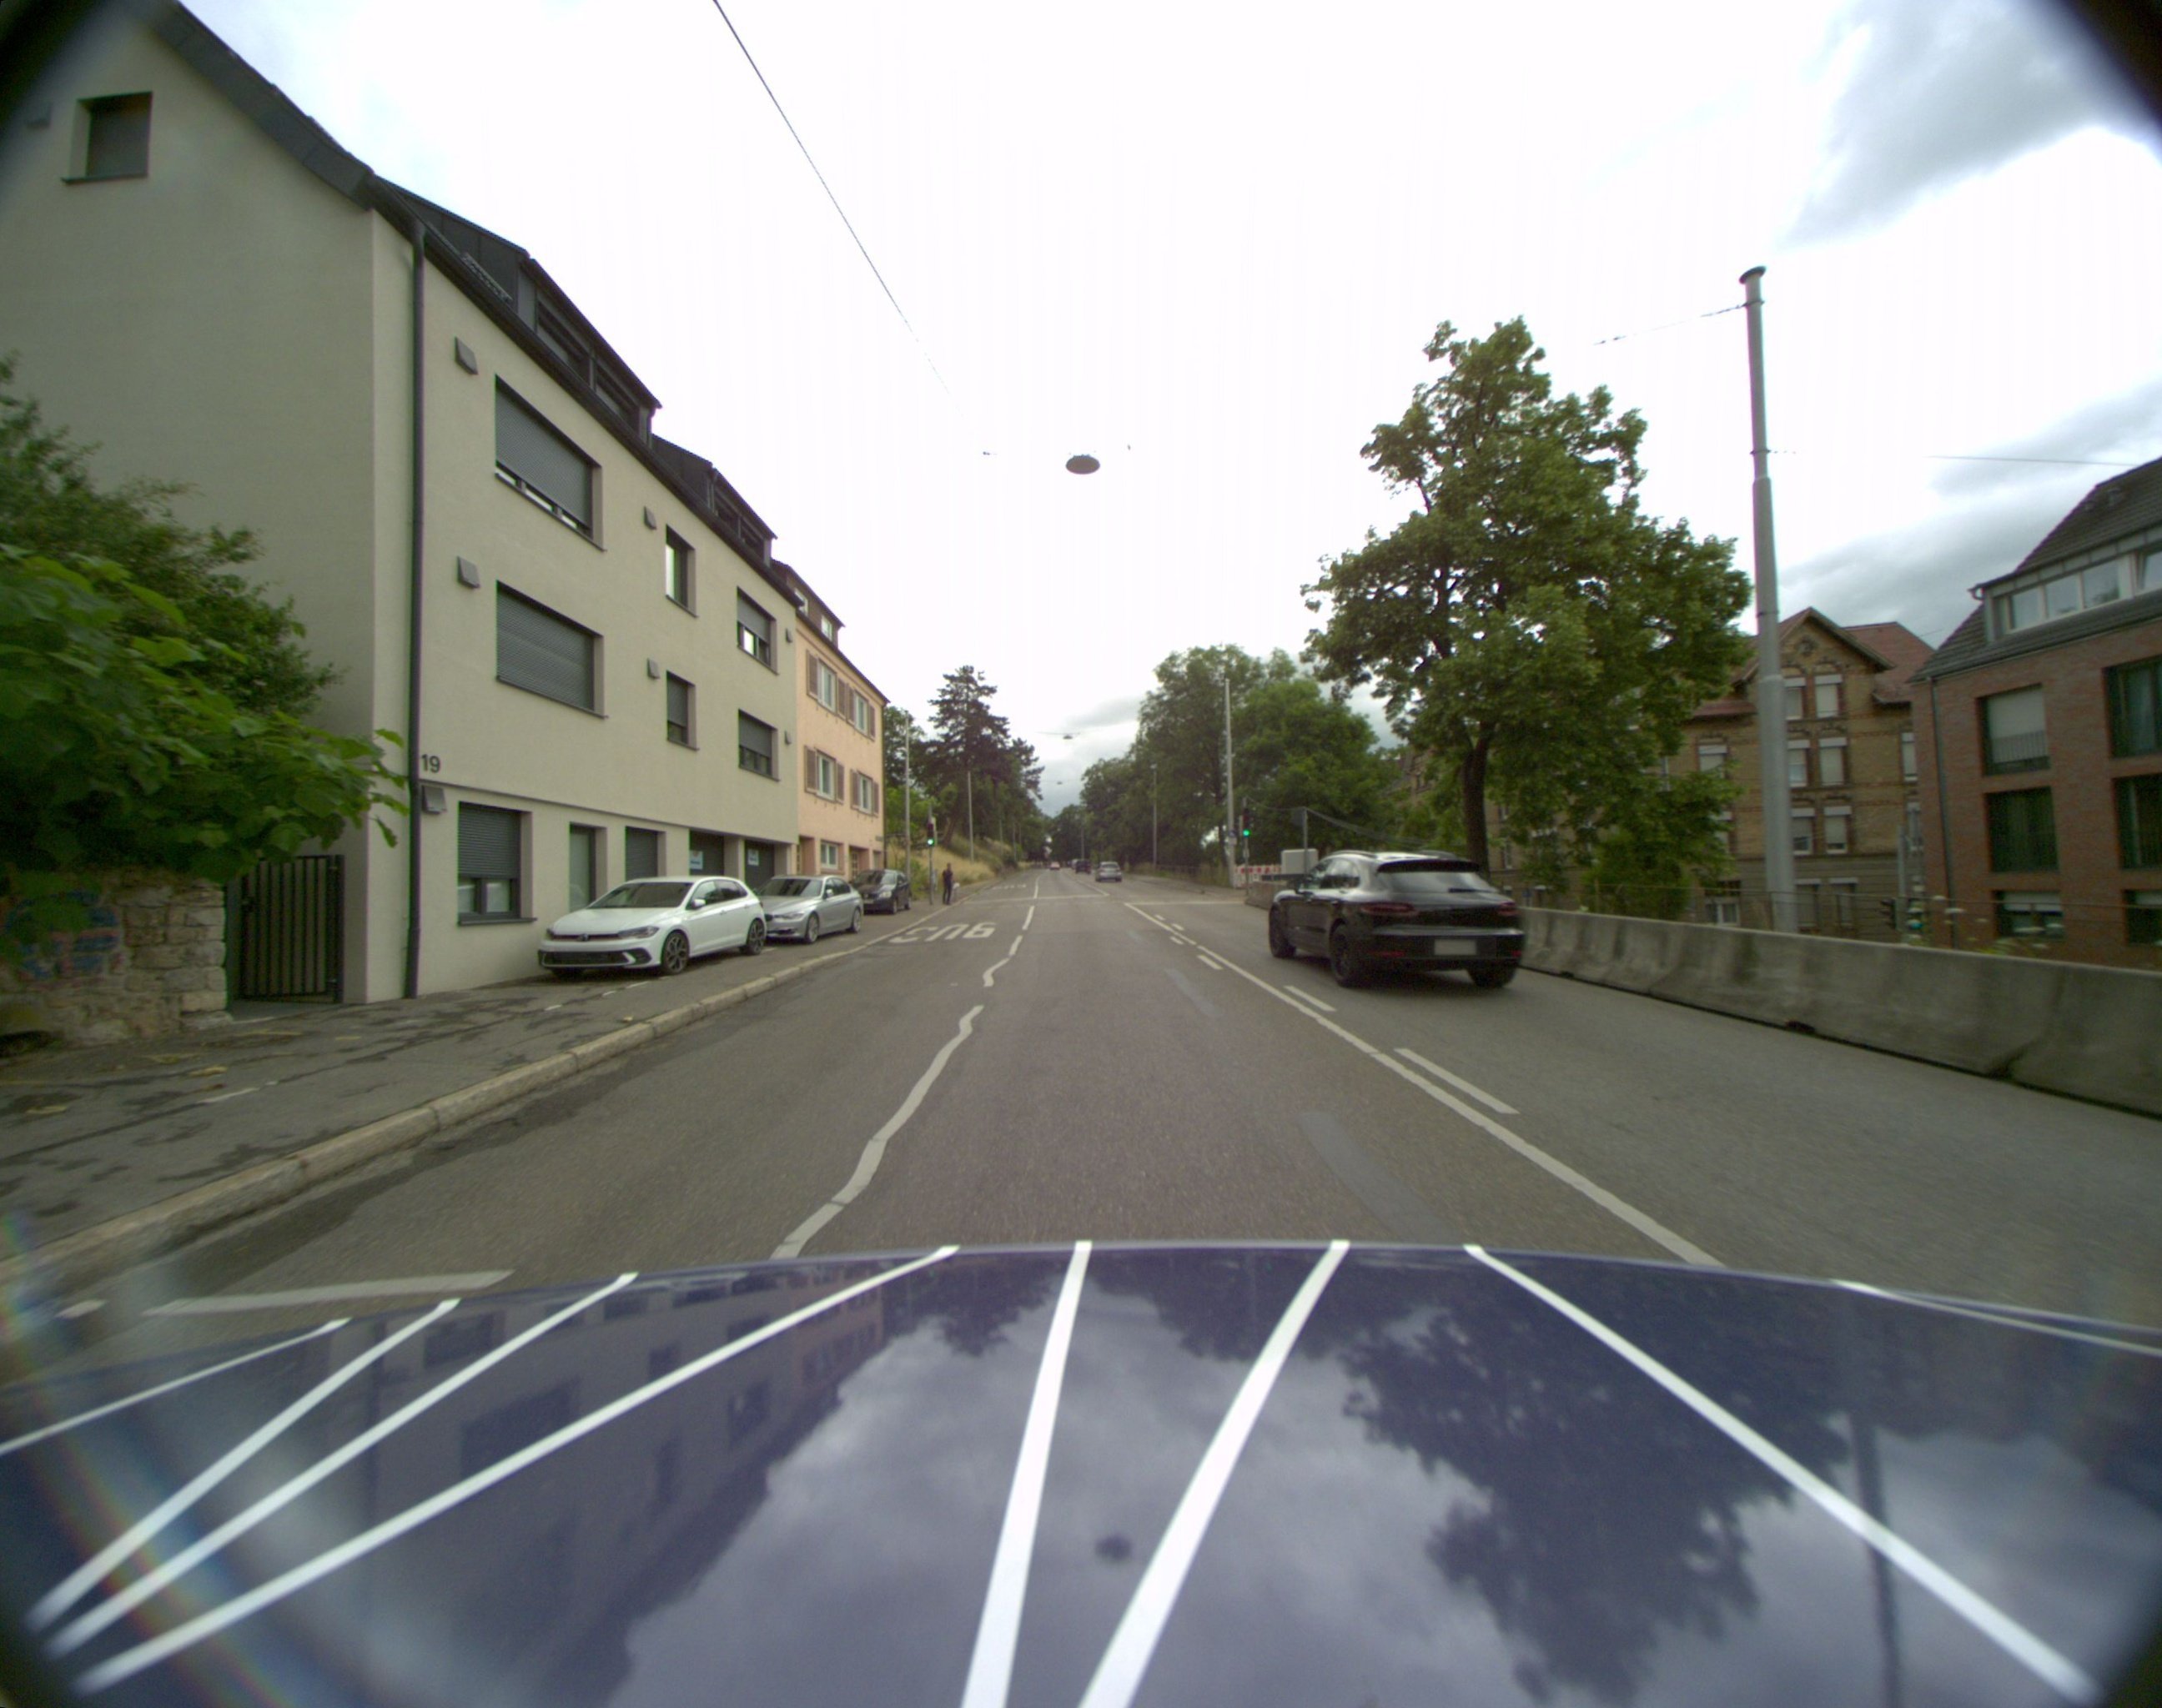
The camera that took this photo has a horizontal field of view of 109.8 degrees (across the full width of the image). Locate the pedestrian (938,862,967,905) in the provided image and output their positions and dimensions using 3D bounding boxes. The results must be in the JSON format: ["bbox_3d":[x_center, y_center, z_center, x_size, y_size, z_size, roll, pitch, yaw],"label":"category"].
[{"bbox_3d":[-5.276,1.208,31.227,0.873,1.686,0.888,-5,2,-21],"label":"pedestrian"}]

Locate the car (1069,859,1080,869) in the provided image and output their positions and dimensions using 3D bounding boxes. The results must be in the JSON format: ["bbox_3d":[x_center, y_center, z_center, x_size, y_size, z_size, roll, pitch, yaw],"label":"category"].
[{"bbox_3d":[-1.173,1.781,135.911,1.789,1.565,4.280,-1,0,-2],"label":"car"}]

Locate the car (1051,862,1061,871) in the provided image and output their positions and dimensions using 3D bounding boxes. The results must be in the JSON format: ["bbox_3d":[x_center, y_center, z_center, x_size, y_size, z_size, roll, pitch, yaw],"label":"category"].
[{"bbox_3d":[-4.417,2.189,132.748,1.789,1.565,4.280,-1,0,-2],"label":"car"}]

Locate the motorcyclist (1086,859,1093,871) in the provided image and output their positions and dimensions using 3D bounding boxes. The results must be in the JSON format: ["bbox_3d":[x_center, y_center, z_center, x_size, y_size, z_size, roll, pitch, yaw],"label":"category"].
[{"bbox_3d":[1.005,1.286,88.958,0.787,1.507,0.668,0,0,-3],"label":"motorcyclist"}]

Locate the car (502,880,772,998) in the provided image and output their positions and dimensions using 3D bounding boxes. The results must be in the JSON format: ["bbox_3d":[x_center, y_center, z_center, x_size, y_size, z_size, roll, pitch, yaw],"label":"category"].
[{"bbox_3d":[-6.656,1.182,11.990,1.798,1.415,4.005,0,0,2],"label":"car"}]

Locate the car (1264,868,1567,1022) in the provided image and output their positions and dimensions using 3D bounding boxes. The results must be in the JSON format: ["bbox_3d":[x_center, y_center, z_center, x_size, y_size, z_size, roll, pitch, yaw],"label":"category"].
[{"bbox_3d":[3.942,0.971,9.941,1.987,1.565,4.375,0,-1,-1],"label":"car"}]

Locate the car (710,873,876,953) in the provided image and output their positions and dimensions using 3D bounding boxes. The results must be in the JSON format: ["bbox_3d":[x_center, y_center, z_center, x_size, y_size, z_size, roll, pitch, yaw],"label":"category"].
[{"bbox_3d":[-6.258,1.210,17.176,1.798,1.442,4.719,2,-1,1],"label":"car"}]

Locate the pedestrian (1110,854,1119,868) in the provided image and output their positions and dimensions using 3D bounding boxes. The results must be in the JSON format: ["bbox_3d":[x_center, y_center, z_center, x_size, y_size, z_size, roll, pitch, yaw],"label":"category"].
[{"bbox_3d":[4.290,0.882,97.125,0.791,1.764,1.208,-4,0,-4],"label":"pedestrian"}]

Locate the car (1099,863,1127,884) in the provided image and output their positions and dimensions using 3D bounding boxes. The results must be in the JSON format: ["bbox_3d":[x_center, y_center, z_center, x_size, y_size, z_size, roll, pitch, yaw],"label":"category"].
[{"bbox_3d":[2.354,1.431,57.323,1.725,1.436,4.158,-1,0,-2],"label":"car"}]

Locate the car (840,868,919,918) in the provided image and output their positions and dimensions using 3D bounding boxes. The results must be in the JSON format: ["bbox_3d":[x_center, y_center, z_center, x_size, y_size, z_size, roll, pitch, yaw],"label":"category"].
[{"bbox_3d":[-6.768,1.254,25.891,1.686,1.442,3.999,2,0,-2],"label":"car"}]

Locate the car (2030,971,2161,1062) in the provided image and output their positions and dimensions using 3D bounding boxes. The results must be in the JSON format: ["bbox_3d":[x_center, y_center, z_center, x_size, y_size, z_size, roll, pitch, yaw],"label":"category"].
[{"bbox_3d":[22.684,3.449,15.500,1.798,1.501,4.002,0,0,5],"label":"car"}]

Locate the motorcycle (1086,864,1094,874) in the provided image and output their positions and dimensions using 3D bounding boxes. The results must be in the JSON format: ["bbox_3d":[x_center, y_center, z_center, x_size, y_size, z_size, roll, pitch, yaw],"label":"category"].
[{"bbox_3d":[1.007,1.730,88.901,0.787,1.139,2.056,0,0,-2],"label":"motorcycle"}]

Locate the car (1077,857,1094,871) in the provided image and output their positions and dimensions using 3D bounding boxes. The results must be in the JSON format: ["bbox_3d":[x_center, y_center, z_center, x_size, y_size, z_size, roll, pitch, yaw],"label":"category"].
[{"bbox_3d":[0.514,1.201,96.125,1.789,1.736,4.427,-1,0,-4],"label":"car"}]
